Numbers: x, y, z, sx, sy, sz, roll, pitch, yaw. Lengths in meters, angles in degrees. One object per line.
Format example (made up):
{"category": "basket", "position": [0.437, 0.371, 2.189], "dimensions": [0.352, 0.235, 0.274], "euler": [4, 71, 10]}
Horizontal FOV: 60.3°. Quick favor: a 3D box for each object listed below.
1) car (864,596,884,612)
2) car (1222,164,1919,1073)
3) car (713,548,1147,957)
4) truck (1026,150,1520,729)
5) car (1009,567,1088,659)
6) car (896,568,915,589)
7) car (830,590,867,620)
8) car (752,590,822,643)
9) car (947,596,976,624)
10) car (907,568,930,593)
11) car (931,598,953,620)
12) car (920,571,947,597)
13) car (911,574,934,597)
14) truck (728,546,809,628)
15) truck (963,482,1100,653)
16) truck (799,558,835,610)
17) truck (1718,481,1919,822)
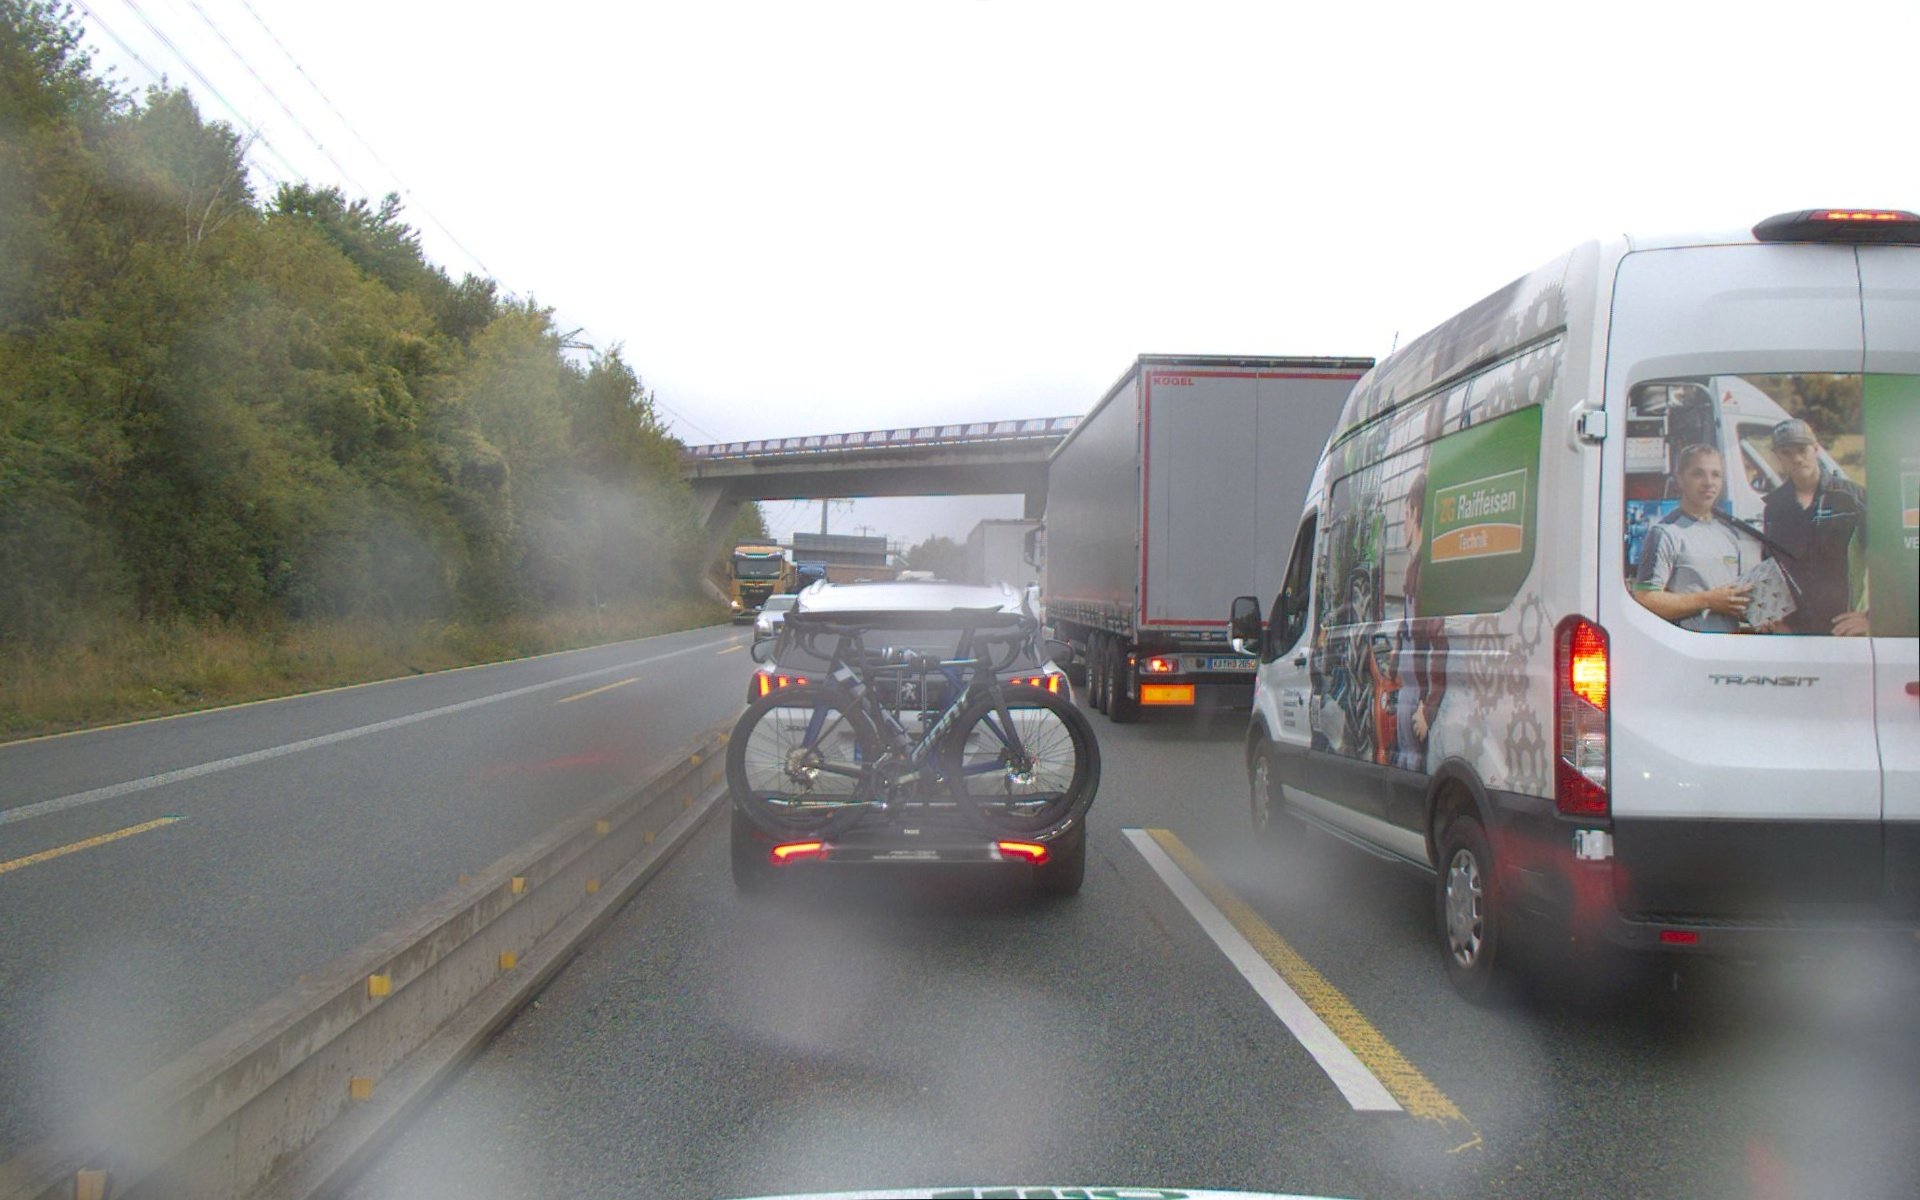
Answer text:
{"category": "car", "position": [-7.528, 0.361, 145.207], "dimensions": [1.652, 1.434, 3.928], "euler": [1, 0, -2]}
{"category": "car", "position": [2.879, 0.076, 8.050], "dimensions": [2.101, 2.723, 6.115], "euler": [1, 0, -1]}
{"category": "car", "position": [-0.106, 0.639, 9.150], "dimensions": [1.773, 1.666, 4.635], "euler": [1, 0, 0]}
{"category": "truck", "position": [3.571, -1.570, 26.819], "dimensions": [3.898, 5.772, 20.372], "euler": [1, 0, -1]}
{"category": "car", "position": [2.223, 0.316, 42.451], "dimensions": [1.636, 2.218, 4.533], "euler": [1, 0, -2]}
{"category": "car", "position": [-6.117, -2.401, 185.611], "dimensions": [1.953, 2.164, 4.526], "euler": [1, 0, -1]}
{"category": "car", "position": [-6.376, 0.278, 94.888], "dimensions": [1.896, 1.635, 4.119], "euler": [1, 0, -1]}
{"category": "car", "position": [-5.071, 0.484, 48.930], "dimensions": [1.744, 1.469, 4.326], "euler": [1, 0, -2]}
{"category": "car", "position": [0.060, 0.580, 96.039], "dimensions": [1.605, 1.524, 3.665], "euler": [1, 0, -1]}
{"category": "car", "position": [-4.009, -1.886, 160.903], "dimensions": [2.193, 2.348, 4.571], "euler": [1, 0, -1]}
{"category": "car", "position": [-1.315, 0.667, 120.499], "dimensions": [1.605, 1.524, 3.665], "euler": [1, 0, -1]}
{"category": "car", "position": [-2.166, -1.253, 133.862], "dimensions": [1.954, 2.049, 3.997], "euler": [1, 0, -3]}
{"category": "car", "position": [-3.326, -1.288, 148.028], "dimensions": [1.953, 2.049, 3.999], "euler": [1, 0, -1]}
{"category": "truck", "position": [-9.244, -0.567, 81.254], "dimensions": [2.627, 3.720, 12.309], "euler": [1, 0, -1]}
{"category": "truck", "position": [2.511, -1.075, 66.714], "dimensions": [4.645, 5.772, 20.375], "euler": [1, 0, 0]}
{"category": "truck", "position": [-12.666, -1.293, 145.263], "dimensions": [2.713, 4.195, 16.904], "euler": [1, 0, -6]}
{"category": "truck", "position": [10.217, 0.490, 14.888], "dimensions": [2.469, 3.186, 9.116], "euler": [1, 0, -1]}
